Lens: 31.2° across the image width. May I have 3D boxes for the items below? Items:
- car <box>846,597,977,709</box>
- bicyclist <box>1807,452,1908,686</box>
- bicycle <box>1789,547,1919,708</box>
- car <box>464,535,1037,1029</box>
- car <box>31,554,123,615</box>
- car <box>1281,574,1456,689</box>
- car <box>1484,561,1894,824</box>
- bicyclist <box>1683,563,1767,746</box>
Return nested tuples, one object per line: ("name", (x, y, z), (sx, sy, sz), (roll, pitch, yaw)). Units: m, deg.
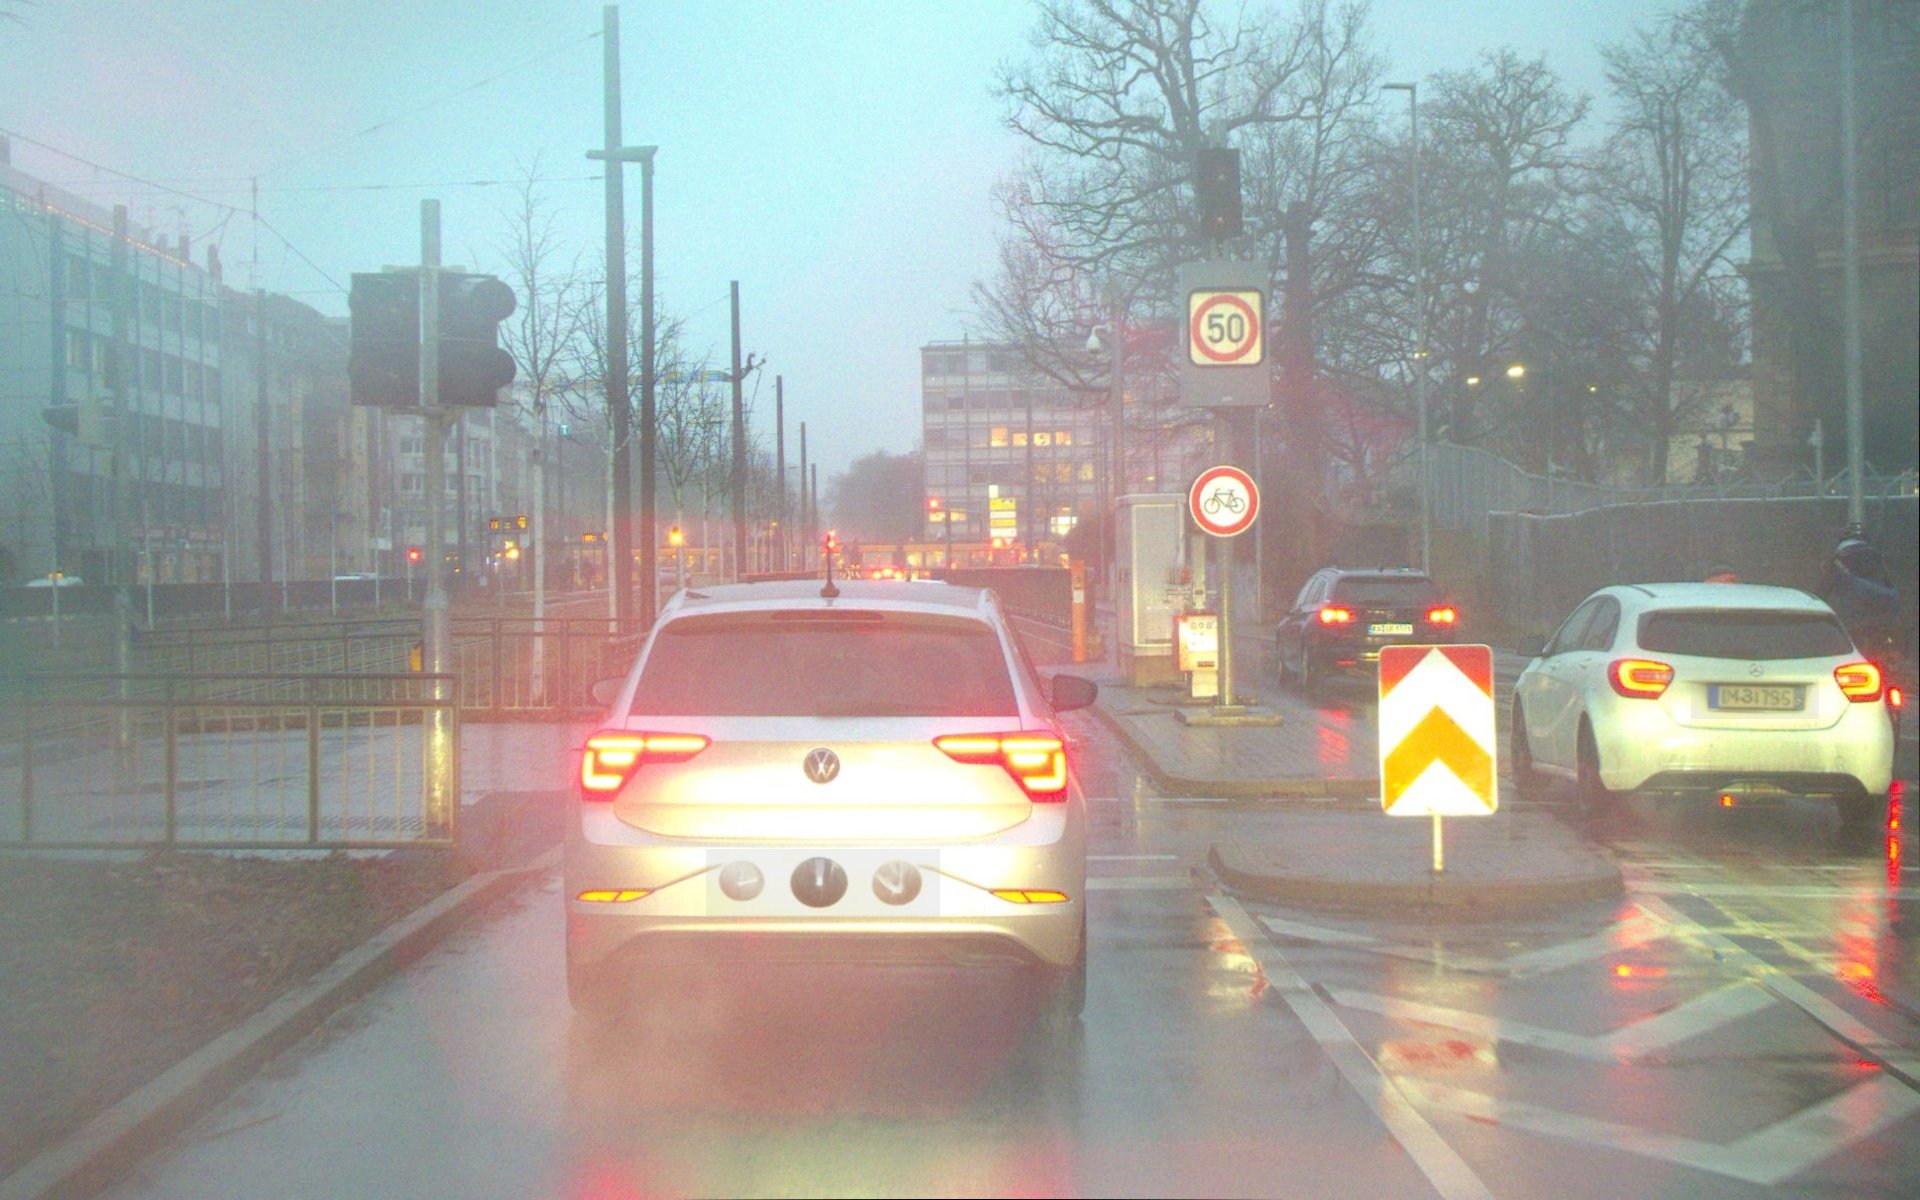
("car", (-0.644, 0.714, 48.092), (1.722, 1.474, 4.000), (1, 0, 0))
("bicyclist", (6.912, -0.242, 26.494), (0.500, 1.761, 0.837), (-1, 1, -3))
("bicycle", (6.888, 0.187, 26.458), (0.411, 1.181, 2.029), (-1, 1, -3))
("car", (-0.636, 0.555, 12.499), (1.722, 1.474, 4.000), (1, 0, 0))
("car", (-29.436, -0.534, 114.731), (1.993, 1.926, 4.913), (-2, 1, -3))
("car", (4.879, 0.359, 41.499), (1.623, 1.295, 4.000), (1, 0, 0))
("car", (4.480, 0.527, 21.687), (1.722, 1.474, 4.000), (1, 0, 0))
("bicyclist", (6.761, 0.472, 30.416), (0.500, 1.586, 0.837), (-1, 1, -3))
